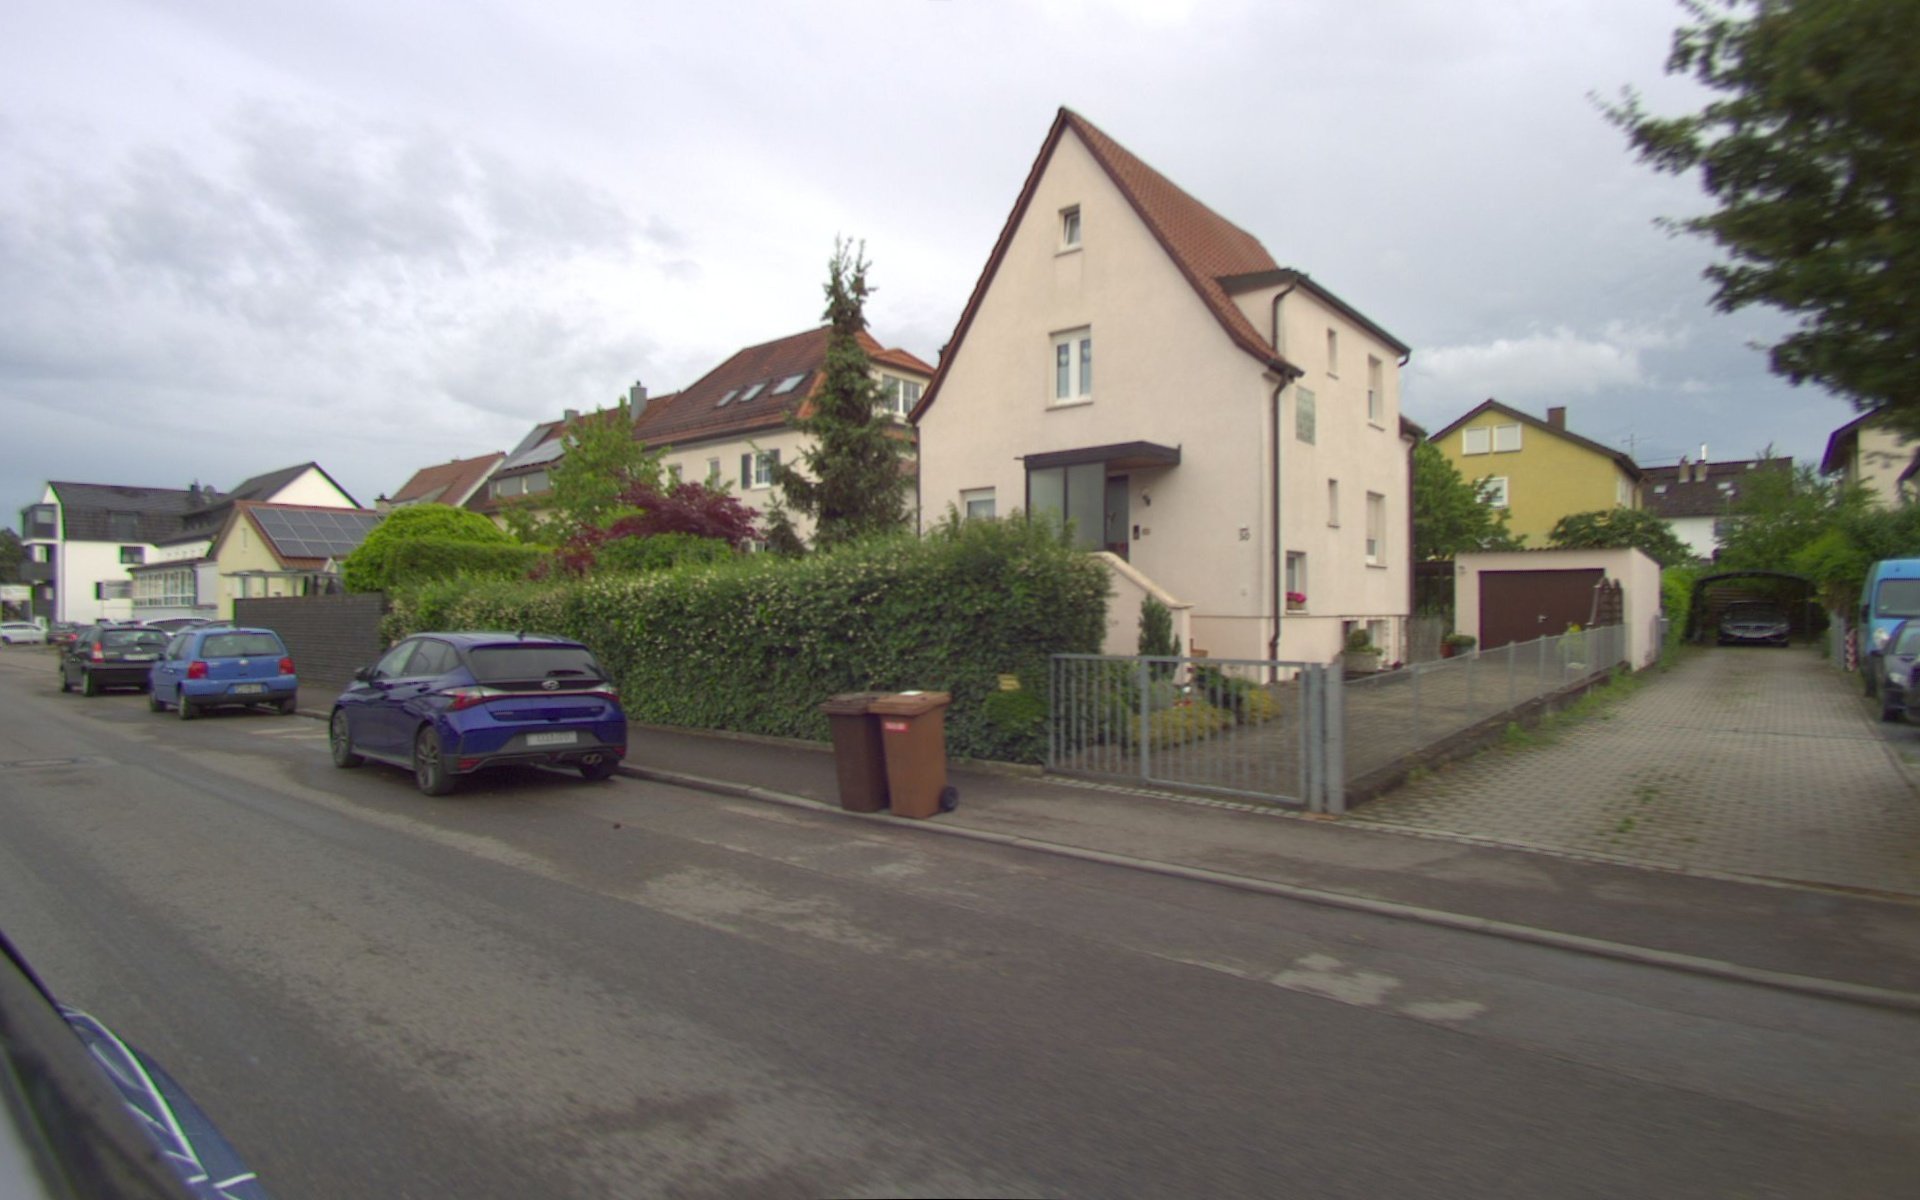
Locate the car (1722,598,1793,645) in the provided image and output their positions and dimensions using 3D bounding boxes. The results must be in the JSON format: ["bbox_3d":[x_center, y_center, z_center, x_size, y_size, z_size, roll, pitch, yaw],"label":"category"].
[{"bbox_3d":[25.610,0.672,32.448,1.628,1.431,3.580,-2,-1,40],"label":"car"}]

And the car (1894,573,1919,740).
[{"bbox_3d":[13.750,0.625,11.038,5.048,1.945,1.974,-2,-2,39],"label":"car"}]

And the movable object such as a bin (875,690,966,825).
[{"bbox_3d":[-0.300,1.187,7.783,0.424,0.917,0.534,-2,1,40],"label":"movable object such as a bin"}]

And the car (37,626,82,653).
[{"bbox_3d":[-59.901,2.622,67.316,4.000,1.541,1.800,-2,4,43],"label":"car"}]

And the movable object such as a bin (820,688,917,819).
[{"bbox_3d":[-0.727,1.196,8.031,0.505,0.917,0.534,-2,1,40],"label":"movable object such as a bin"}]

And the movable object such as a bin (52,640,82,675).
[{"bbox_3d":[-29.377,1.887,33.289,0.686,1.065,0.590,-4,1,41],"label":"movable object such as a bin"}]

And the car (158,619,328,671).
[{"bbox_3d":[-22.471,1.380,31.846,1.711,1.424,4.046,-2,-1,37],"label":"car"}]

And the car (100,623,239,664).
[{"bbox_3d":[-31.303,1.707,40.166,1.752,1.514,4.049,-2,-2,35],"label":"car"}]

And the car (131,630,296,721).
[{"bbox_3d":[-12.936,1.229,17.474,3.595,1.414,1.529,-2,-3,41],"label":"car"}]

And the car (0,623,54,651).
[{"bbox_3d":[-64.751,2.591,69.119,1.998,1.659,3.949,-2,2,39],"label":"car"}]

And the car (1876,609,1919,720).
[{"bbox_3d":[14.457,0.860,14.599,1.671,1.431,3.701,-2,-1,40],"label":"car"}]

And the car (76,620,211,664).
[{"bbox_3d":[-34.619,1.750,43.002,1.995,1.544,4.049,-8,-4,35],"label":"car"}]

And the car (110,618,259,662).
[{"bbox_3d":[-28.690,1.462,37.533,1.880,1.525,4.046,-2,-2,37],"label":"car"}]

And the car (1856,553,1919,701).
[{"bbox_3d":[17.703,0.421,18.311,2.046,2.392,5.612,-2,-1,40],"label":"car"}]

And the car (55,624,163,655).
[{"bbox_3d":[-42.252,1.937,50.311,1.766,1.449,3.835,-2,-2,39],"label":"car"}]

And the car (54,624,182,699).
[{"bbox_3d":[-18.750,1.319,22.478,3.705,1.518,1.592,-2,-3,41],"label":"car"}]

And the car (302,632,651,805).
[{"bbox_3d":[-5.035,1.046,10.318,3.942,1.414,1.788,-2,-3,41],"label":"car"}]
